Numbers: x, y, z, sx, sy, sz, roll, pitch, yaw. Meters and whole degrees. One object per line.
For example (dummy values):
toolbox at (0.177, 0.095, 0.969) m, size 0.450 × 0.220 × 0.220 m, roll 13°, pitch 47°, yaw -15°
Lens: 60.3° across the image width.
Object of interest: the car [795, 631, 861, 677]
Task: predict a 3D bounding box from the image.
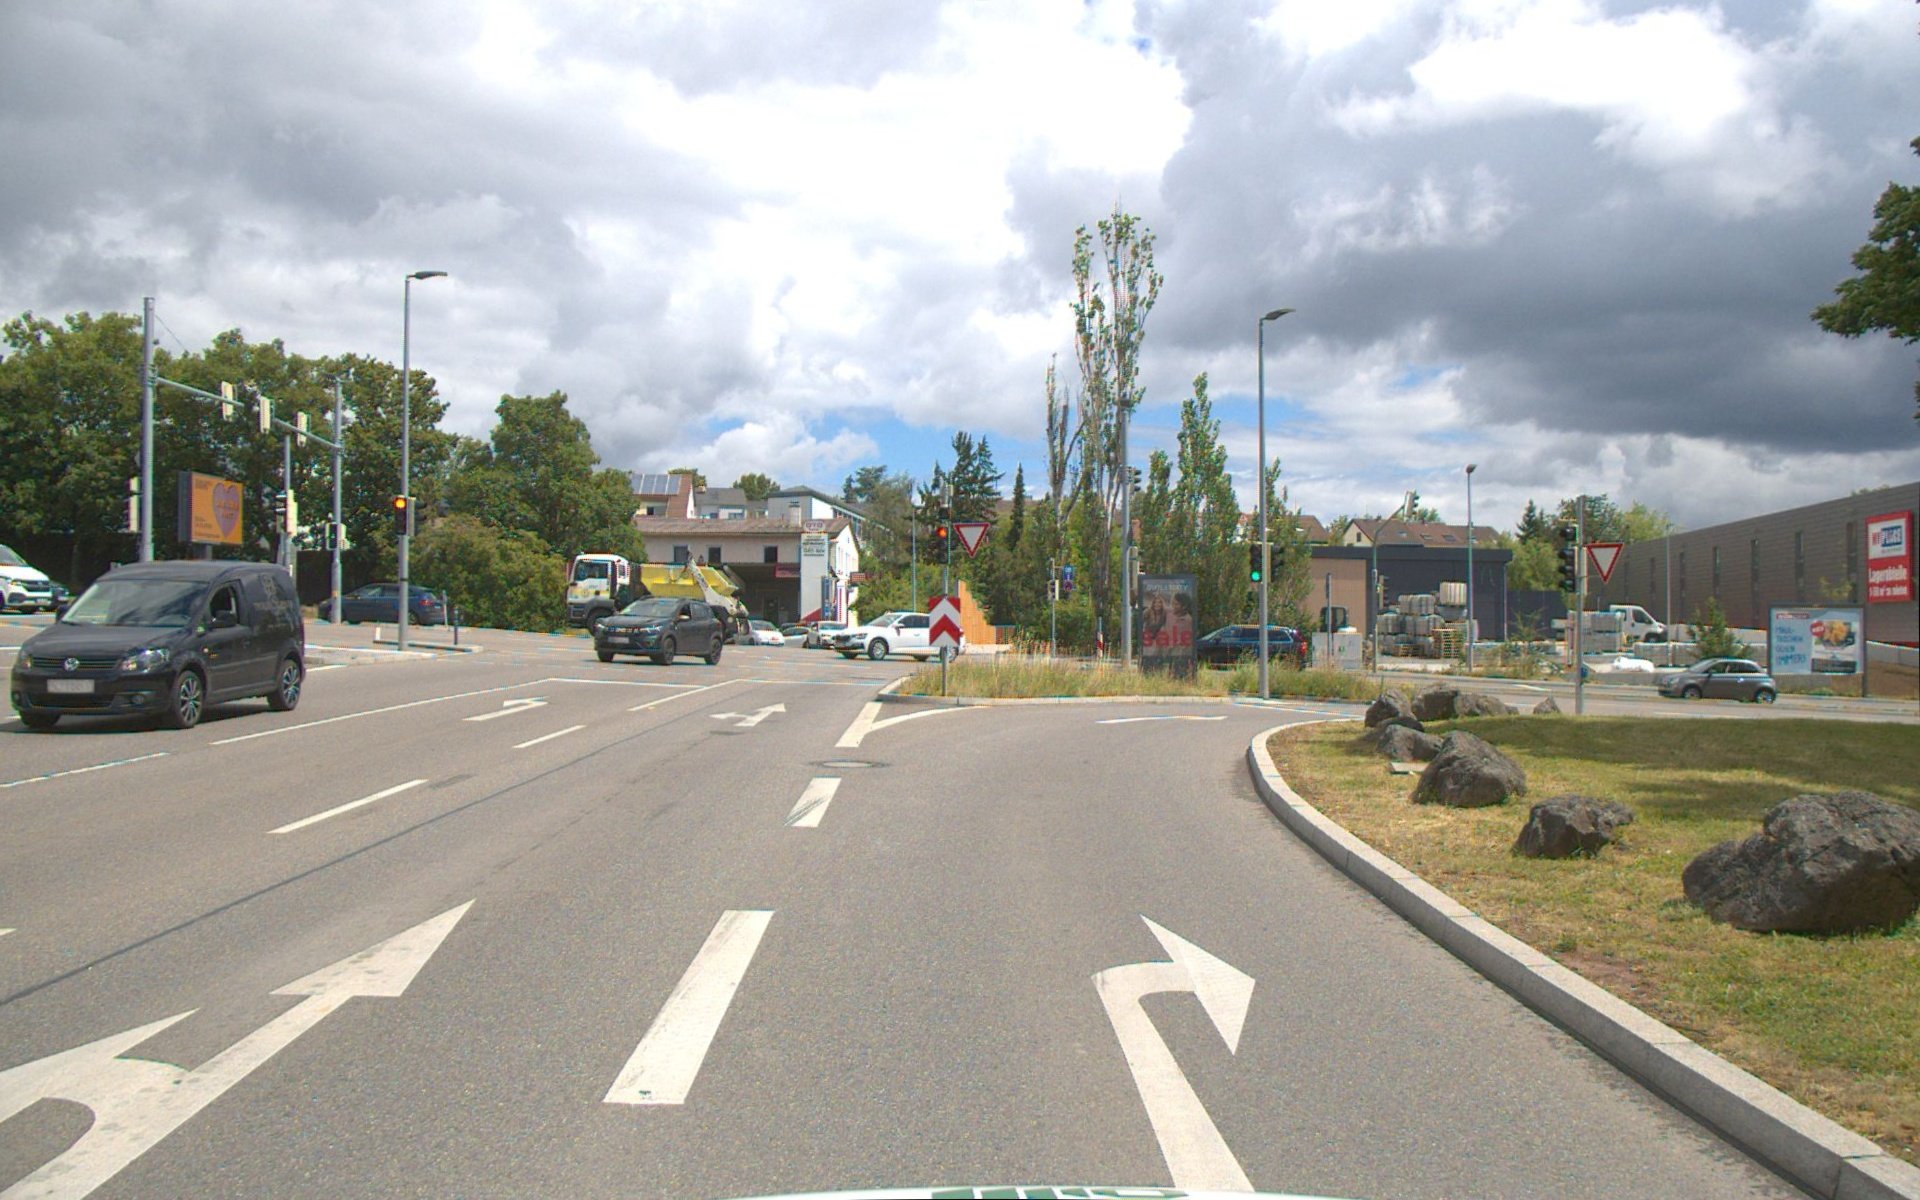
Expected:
car at (-6.285, 2.552, 78.502) m, size 1.966 × 2.049 × 3.972 m, roll -1°, pitch -1°, yaw -22°

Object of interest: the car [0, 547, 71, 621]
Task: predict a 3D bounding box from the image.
car at (-27.906, -0.540, 46.339) m, size 4.854 × 1.971 × 1.911 m, roll 3°, pitch 0°, yaw 0°

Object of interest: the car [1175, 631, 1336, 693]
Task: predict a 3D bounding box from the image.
car at (9.666, 2.023, 54.290) m, size 4.865 × 1.719 × 1.910 m, roll 3°, pitch 0°, yaw -1°

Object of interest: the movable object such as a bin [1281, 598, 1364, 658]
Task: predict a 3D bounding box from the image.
movable object such as a bin at (16.746, 1.309, 76.378) m, size 3.334 × 2.582 × 2.152 m, roll 2°, pitch -1°, yaw 21°

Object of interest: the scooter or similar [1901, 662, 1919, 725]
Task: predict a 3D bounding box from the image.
scooter or similar at (20.183, 1.956, 34.312) m, size 1.168 × 1.286 × 0.531 m, roll 3°, pitch -3°, yaw -20°

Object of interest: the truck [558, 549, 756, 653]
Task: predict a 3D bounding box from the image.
truck at (-11.410, 0.063, 62.687) m, size 6.800 × 3.642 × 2.847 m, roll -2°, pitch -1°, yaw 2°

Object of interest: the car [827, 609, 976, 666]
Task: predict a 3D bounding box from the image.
car at (-1.771, 1.154, 50.681) m, size 4.326 × 1.495 × 1.603 m, roll 3°, pitch 0°, yaw -35°

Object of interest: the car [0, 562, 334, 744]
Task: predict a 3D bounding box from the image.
car at (-9.044, 0.516, 19.104) m, size 1.748 × 1.810 × 4.811 m, roll 1°, pitch 0°, yaw 0°

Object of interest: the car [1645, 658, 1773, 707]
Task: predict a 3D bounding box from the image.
car at (24.255, 2.664, 53.610) m, size 3.438 × 1.486 × 1.586 m, roll -1°, pitch 0°, yaw 6°

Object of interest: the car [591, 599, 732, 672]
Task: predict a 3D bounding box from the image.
car at (-6.953, 0.799, 39.000) m, size 1.747 × 1.605 × 4.168 m, roll 1°, pitch 0°, yaw 13°

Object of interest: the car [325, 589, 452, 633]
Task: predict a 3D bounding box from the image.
car at (-20.472, 0.406, 59.314) m, size 3.904 × 1.425 × 1.697 m, roll 2°, pitch -1°, yaw 3°

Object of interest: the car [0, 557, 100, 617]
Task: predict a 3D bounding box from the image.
car at (-29.060, -0.467, 50.183) m, size 4.854 × 1.664 × 1.911 m, roll 3°, pitch 0°, yaw 0°

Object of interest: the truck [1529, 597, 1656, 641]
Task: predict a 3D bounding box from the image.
truck at (35.026, 1.058, 91.851) m, size 6.421 × 2.183 × 2.001 m, roll -2°, pitch -1°, yaw 18°

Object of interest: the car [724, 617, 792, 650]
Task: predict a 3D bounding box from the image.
car at (-9.572, 1.579, 78.278) m, size 1.675 × 1.425 × 3.956 m, roll 3°, pitch -1°, yaw -32°
